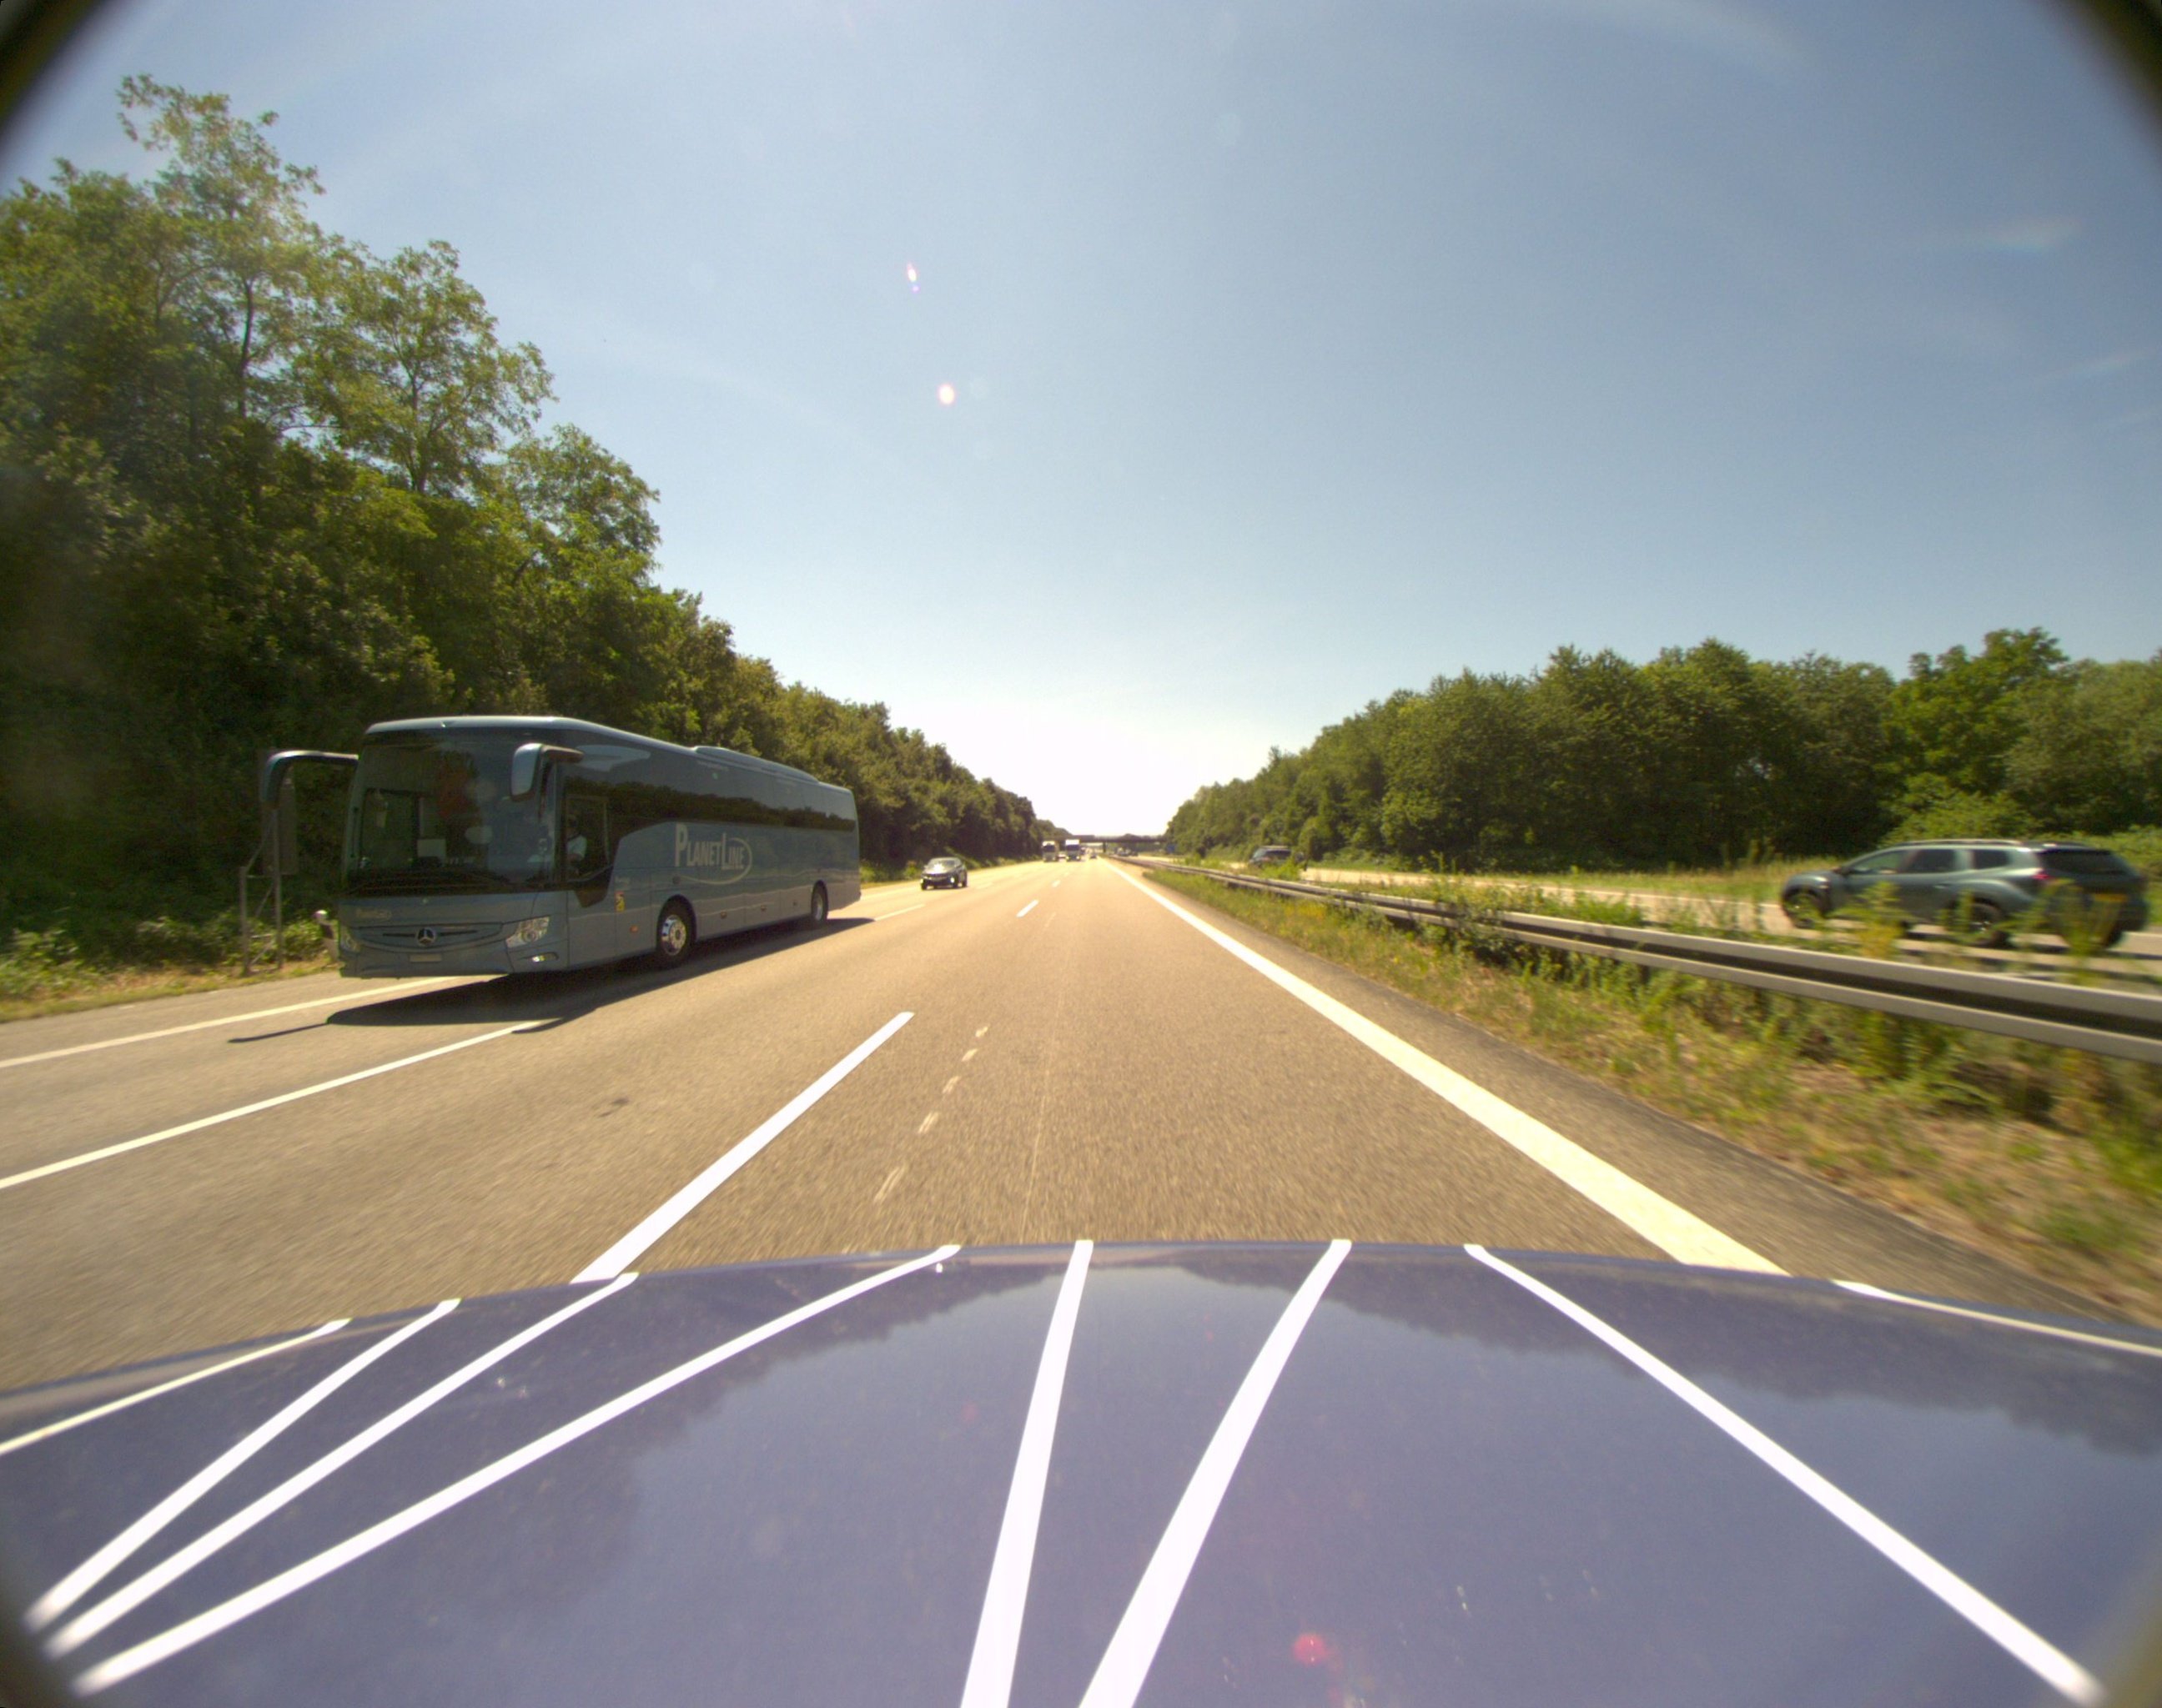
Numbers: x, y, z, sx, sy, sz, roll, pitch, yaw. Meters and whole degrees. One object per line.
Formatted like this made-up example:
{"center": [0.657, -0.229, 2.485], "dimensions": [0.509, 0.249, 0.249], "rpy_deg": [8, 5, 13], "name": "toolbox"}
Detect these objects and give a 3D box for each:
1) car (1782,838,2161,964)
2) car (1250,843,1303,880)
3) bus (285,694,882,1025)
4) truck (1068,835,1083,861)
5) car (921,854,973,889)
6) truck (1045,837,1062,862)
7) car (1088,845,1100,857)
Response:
{"center": [14.081, 0.604, 12.158], "dimensions": [1.850, 1.663, 4.185], "rpy_deg": [1, 1, 1], "name": "car"}
{"center": [10.125, 0.358, 39.658], "dimensions": [1.844, 1.771, 3.512], "rpy_deg": [-2, 1, 1], "name": "car"}
{"center": [-7.230, -0.005, 15.169], "dimensions": [2.617, 3.532, 13.681], "rpy_deg": [-2, 1, 1], "name": "bus"}
{"center": [-0.999, -1.169, 146.213], "dimensions": [2.616, 4.638, 10.960], "rpy_deg": [-2, 1, 1], "name": "truck"}
{"center": [-6.751, 0.836, 38.722], "dimensions": [1.814, 1.606, 3.999], "rpy_deg": [-2, 1, 1], "name": "car"}
{"center": [-5.386, -0.991, 150.602], "dimensions": [2.616, 4.638, 10.960], "rpy_deg": [-2, 1, 1], "name": "truck"}
{"center": [2.889, -0.715, 171.716], "dimensions": [2.616, 2.389, 7.122], "rpy_deg": [-2, 1, 1], "name": "car"}
